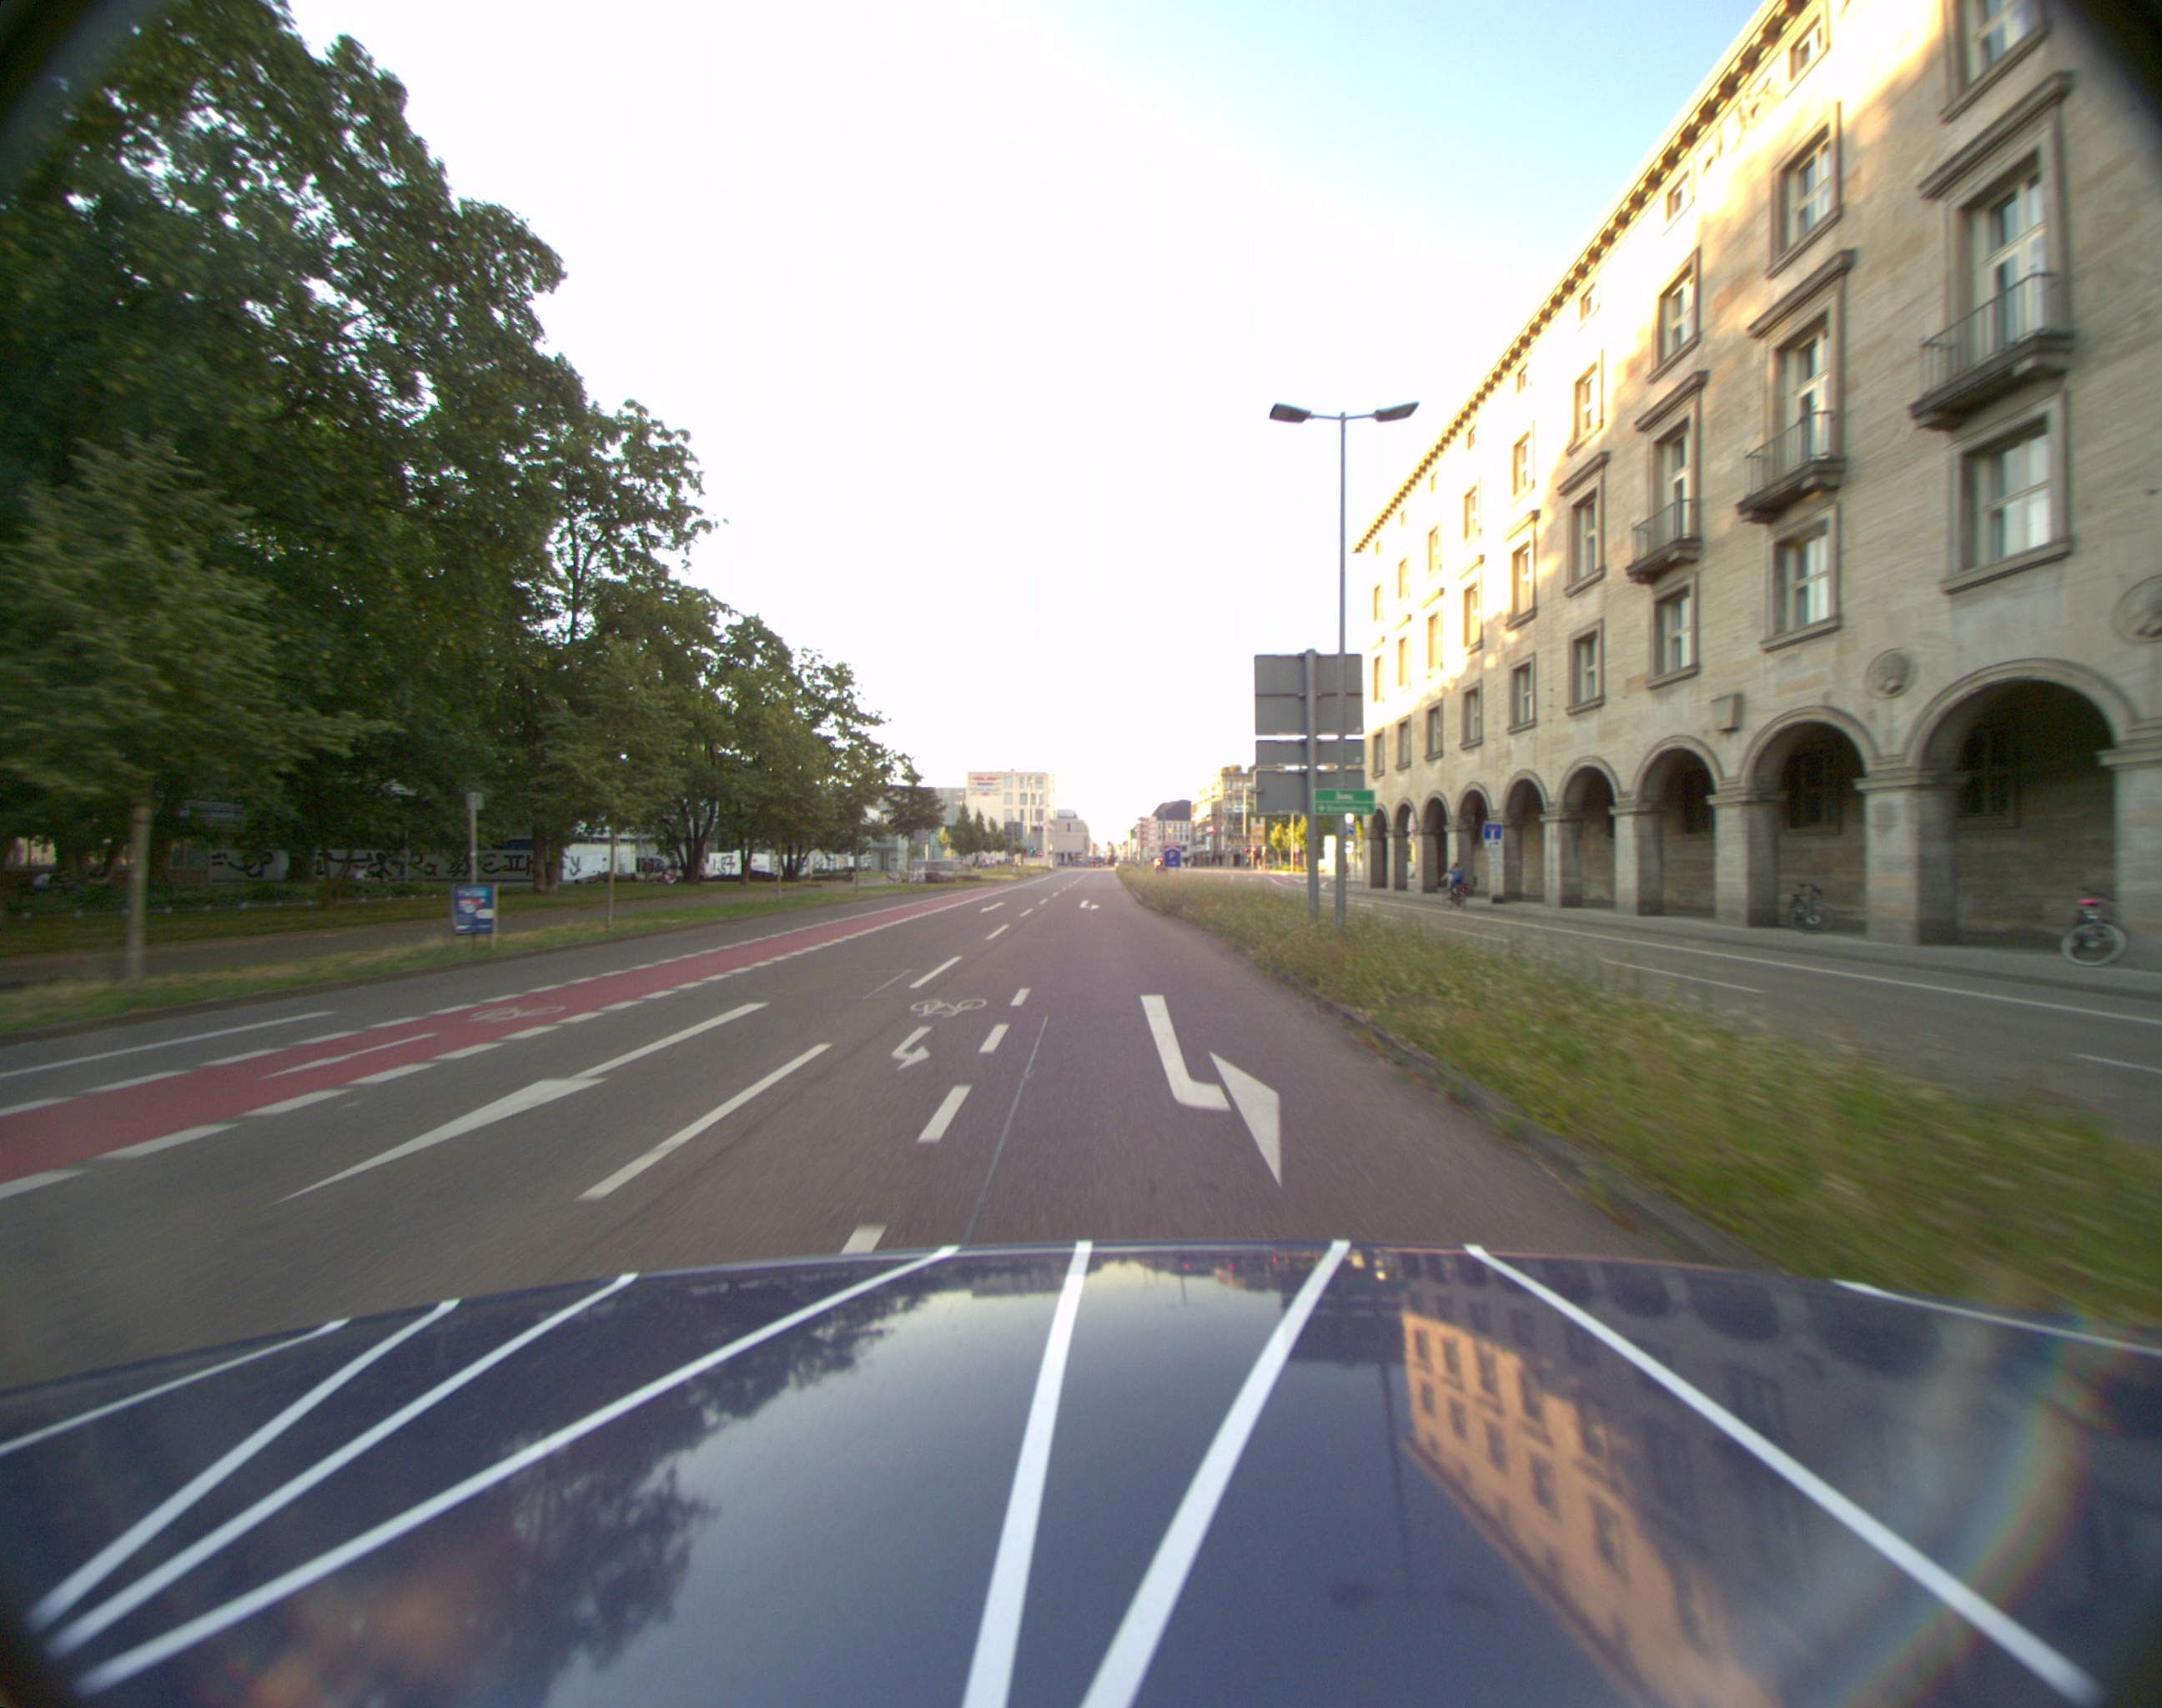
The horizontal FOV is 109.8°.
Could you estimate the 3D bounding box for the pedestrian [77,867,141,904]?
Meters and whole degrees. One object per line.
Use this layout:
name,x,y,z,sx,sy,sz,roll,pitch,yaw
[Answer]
pedestrian,-34.486,1.106,26.969,1.134,1.253,0.906,0,0,4

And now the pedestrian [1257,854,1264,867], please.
pedestrian,25.873,0.981,109.416,0.874,1.826,0.776,0,0,3

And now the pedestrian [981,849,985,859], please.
pedestrian,-16.759,0.006,129.930,0.604,1.843,0.587,0,0,7

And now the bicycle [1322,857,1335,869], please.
bicycle,28.123,1.055,86.294,0.618,1.316,2.509,0,0,0

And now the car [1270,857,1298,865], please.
car,40.346,1.449,150.983,5.159,1.575,2.000,0,-1,2

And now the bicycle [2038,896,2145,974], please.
bicycle,15.514,1.201,11.714,0.477,0.999,2.009,0,0,38

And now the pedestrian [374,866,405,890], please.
pedestrian,-34.404,1.192,37.810,0.788,1.157,0.766,0,1,-4

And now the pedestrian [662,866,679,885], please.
pedestrian,-20.021,1.051,37.084,0.682,0.879,0.592,0,0,-23

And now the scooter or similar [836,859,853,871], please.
scooter or similar,-25.329,1.176,81.393,1.573,1.213,0.474,-2,1,0

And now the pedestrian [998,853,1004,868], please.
pedestrian,-10.501,0.868,99.615,0.644,1.922,0.619,0,0,2

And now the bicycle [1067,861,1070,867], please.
bicycle,-2.740,2.261,171.718,0.618,1.316,2.509,0,0,0

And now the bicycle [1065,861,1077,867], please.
bicycle,-2.276,2.257,173.885,2.804,1.208,0.765,0,-1,11

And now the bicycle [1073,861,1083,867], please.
bicycle,-0.670,2.429,183.623,2.507,1.316,0.619,0,1,1

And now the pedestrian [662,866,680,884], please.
pedestrian,-20.296,1.025,37.629,0.682,0.879,0.622,0,0,-22

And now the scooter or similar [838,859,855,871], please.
scooter or similar,-25.372,1.164,82.211,1.573,1.213,0.474,-2,1,0

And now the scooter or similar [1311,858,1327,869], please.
scooter or similar,27.978,1.103,89.226,1.792,1.297,0.417,0,1,-4

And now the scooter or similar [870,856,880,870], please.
scooter or similar,-18.764,0.831,69.200,0.424,1.213,1.399,2,0,3

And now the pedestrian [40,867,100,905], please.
pedestrian,-34.619,1.095,26.023,1.134,1.253,0.726,0,0,4

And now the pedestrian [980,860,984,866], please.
pedestrian,-16.642,1.463,127.945,0.649,0.957,0.654,0,0,-3

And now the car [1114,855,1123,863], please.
car,8.560,1.187,172.901,2.071,1.642,3.999,0,2,3

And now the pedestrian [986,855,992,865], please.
pedestrian,-15.888,1.029,131.212,0.896,1.843,0.725,0,0,-32

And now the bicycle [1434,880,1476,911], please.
bicycle,13.157,1.440,26.789,0.543,0.999,2.005,0,0,2

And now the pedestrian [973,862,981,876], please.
pedestrian,-14.126,2.017,103.039,0.816,1.804,1.047,0,-1,7

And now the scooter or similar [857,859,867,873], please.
scooter or similar,-19.948,1.092,69.161,0.474,1.213,1.574,2,0,-4

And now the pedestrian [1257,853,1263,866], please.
pedestrian,26.029,0.776,110.328,0.633,1.922,0.775,0,0,0

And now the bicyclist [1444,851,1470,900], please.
bicyclist,13.162,0.738,26.599,0.537,1.683,0.748,0,1,3

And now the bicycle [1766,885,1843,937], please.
bicycle,15.892,1.226,16.744,0.477,0.999,2.008,0,0,21

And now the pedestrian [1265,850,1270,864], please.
pedestrian,26.896,0.447,109.604,0.660,1.921,0.648,0,-1,3

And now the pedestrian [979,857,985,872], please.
pedestrian,-12.932,1.331,99.451,0.644,1.922,0.619,0,0,4

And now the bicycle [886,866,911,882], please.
bicycle,-11.842,1.295,49.394,0.494,1.000,1.901,3,0,22

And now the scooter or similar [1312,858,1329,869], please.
scooter or similar,27.994,1.098,88.742,1.836,1.297,0.423,0,1,-4
